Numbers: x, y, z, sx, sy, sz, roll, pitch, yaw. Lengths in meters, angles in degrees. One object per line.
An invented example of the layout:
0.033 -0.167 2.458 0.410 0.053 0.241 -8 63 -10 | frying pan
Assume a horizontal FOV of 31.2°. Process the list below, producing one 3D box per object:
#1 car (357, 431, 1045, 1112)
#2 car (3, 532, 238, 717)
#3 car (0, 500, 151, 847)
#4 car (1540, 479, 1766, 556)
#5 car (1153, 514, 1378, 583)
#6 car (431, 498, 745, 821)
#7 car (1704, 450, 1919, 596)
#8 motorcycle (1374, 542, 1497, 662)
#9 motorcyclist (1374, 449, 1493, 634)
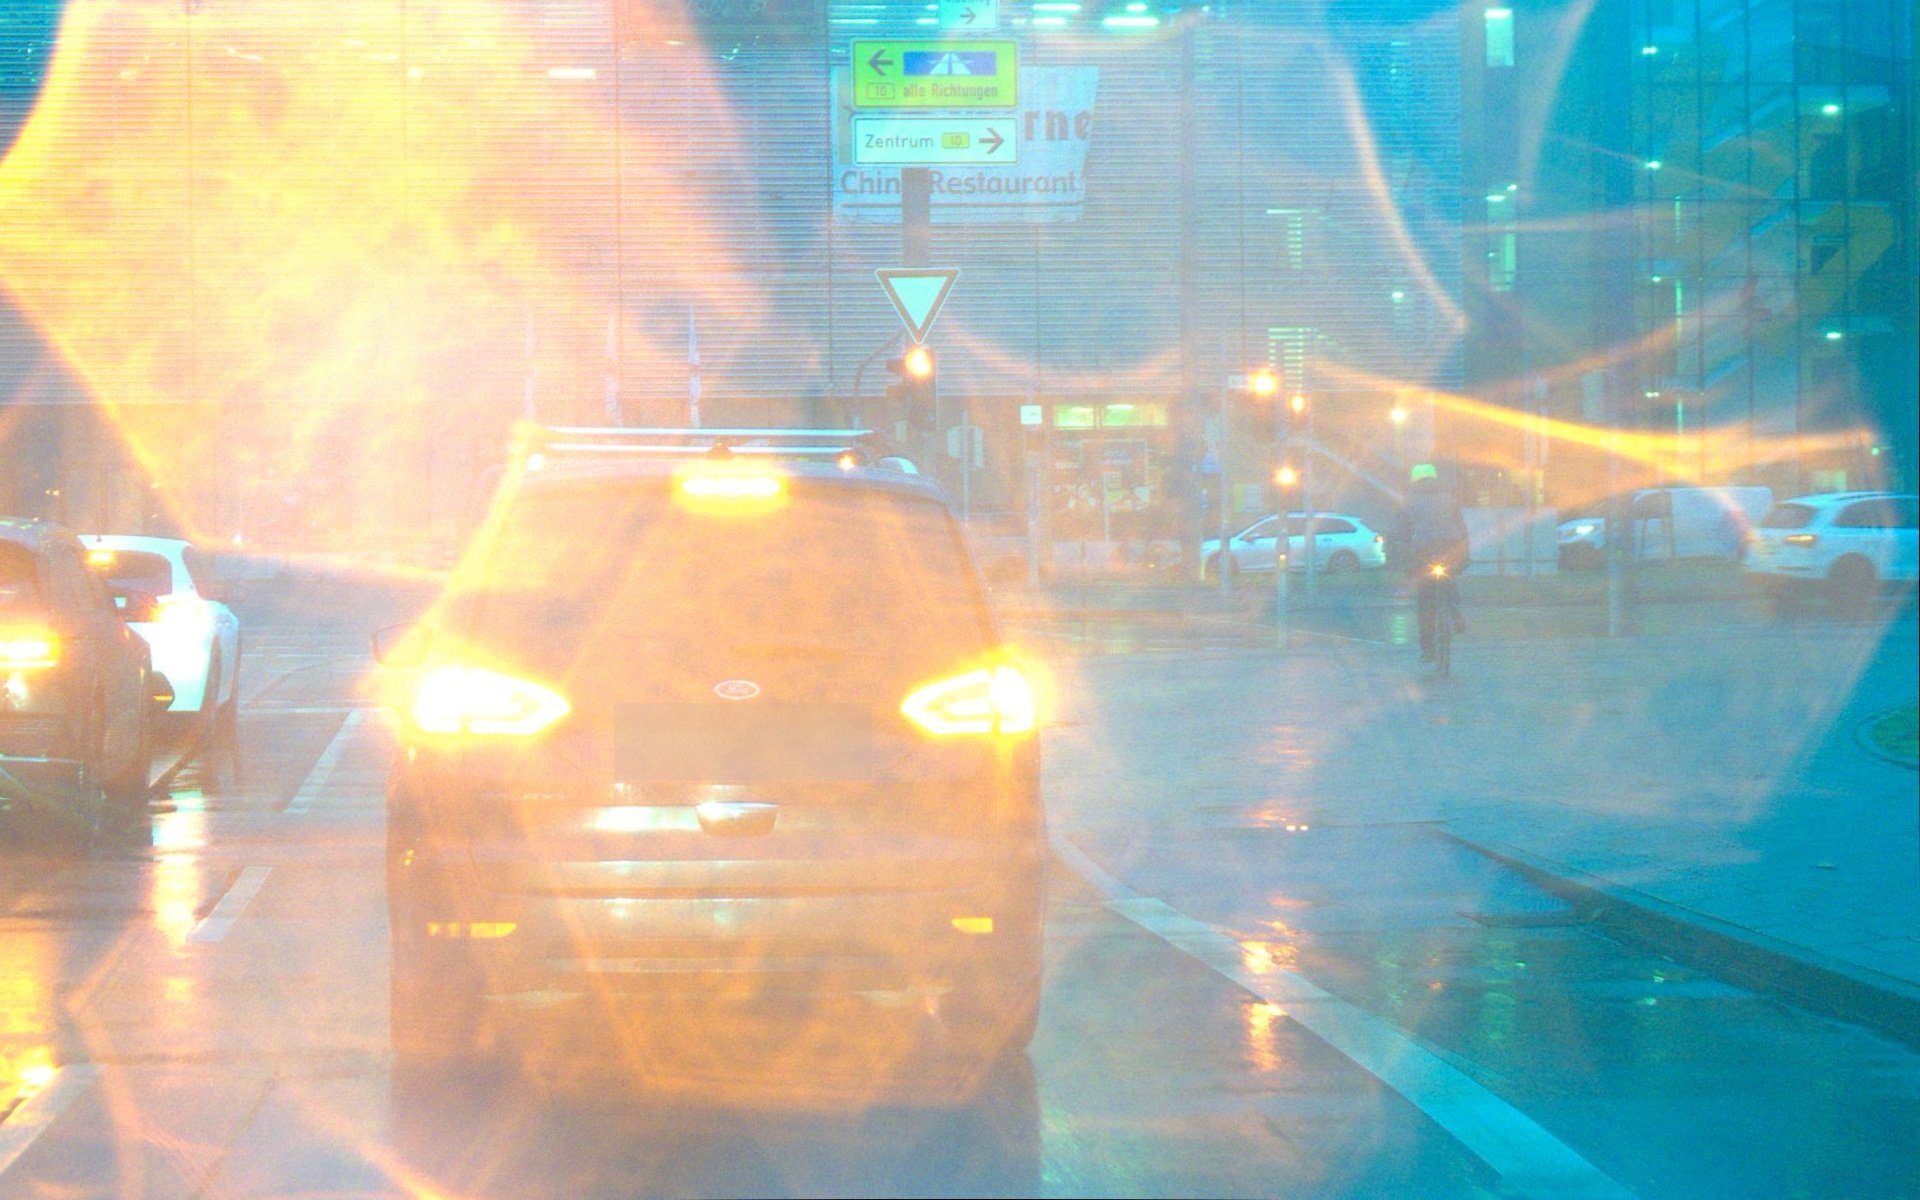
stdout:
-0.902 0.406 11.043 1.734 1.732 4.248 2 1 -6 | car
-6.148 0.126 25.474 1.540 1.247 4.069 -1 1 -12 | car
-5.202 0.306 17.470 1.752 1.568 4.001 -1 1 -8 | car
14.948 -1.778 74.202 4.418 1.589 1.800 -1 1 -13 | car
6.485 -1.108 73.093 4.418 1.385 1.800 -1 1 -11 | car
-2.228 0.287 19.937 1.635 1.691 3.672 0 1 -9 | car
13.236 -1.091 49.787 4.354 2.007 2.001 1 1 -20 | car
4.006 0.003 29.088 0.853 0.968 1.581 -1 1 2 | motorcycle
3.991 -0.498 29.046 0.868 1.529 1.108 -1 1 2 | motorcyclist
